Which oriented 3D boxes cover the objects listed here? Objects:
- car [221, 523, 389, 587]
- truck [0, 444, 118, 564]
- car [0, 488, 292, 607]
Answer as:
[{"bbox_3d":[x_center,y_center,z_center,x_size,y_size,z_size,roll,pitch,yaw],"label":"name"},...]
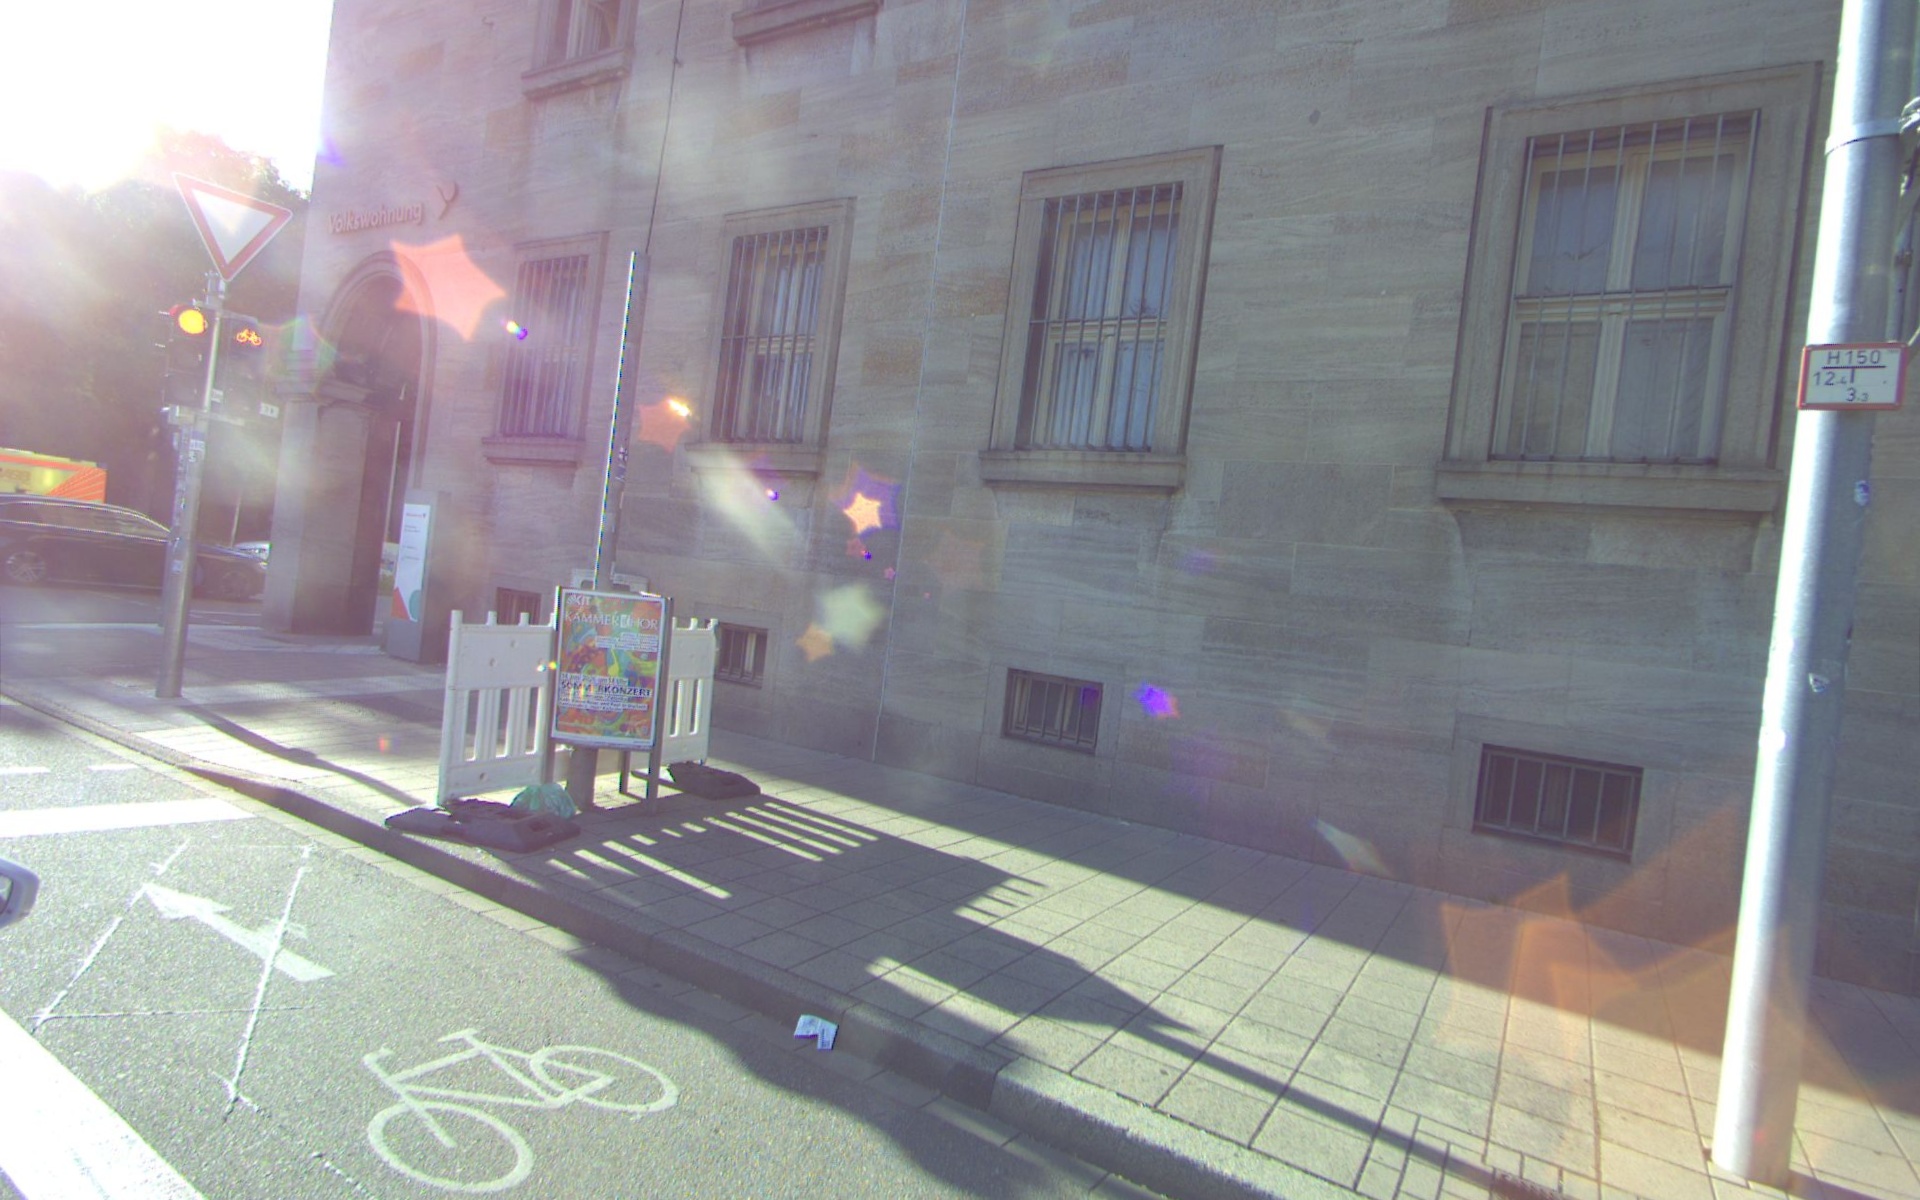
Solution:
[{"bbox_3d":[-20.432,-1.373,31.553,1.604,1.451,4.049,6,-1,30],"label":"car"},{"bbox_3d":[-28.419,-3.024,28.369,2.681,3.052,6.477,7,-1,33],"label":"truck"},{"bbox_3d":[-15.094,-0.950,17.785,2.175,1.529,4.944,8,0,34],"label":"car"}]
